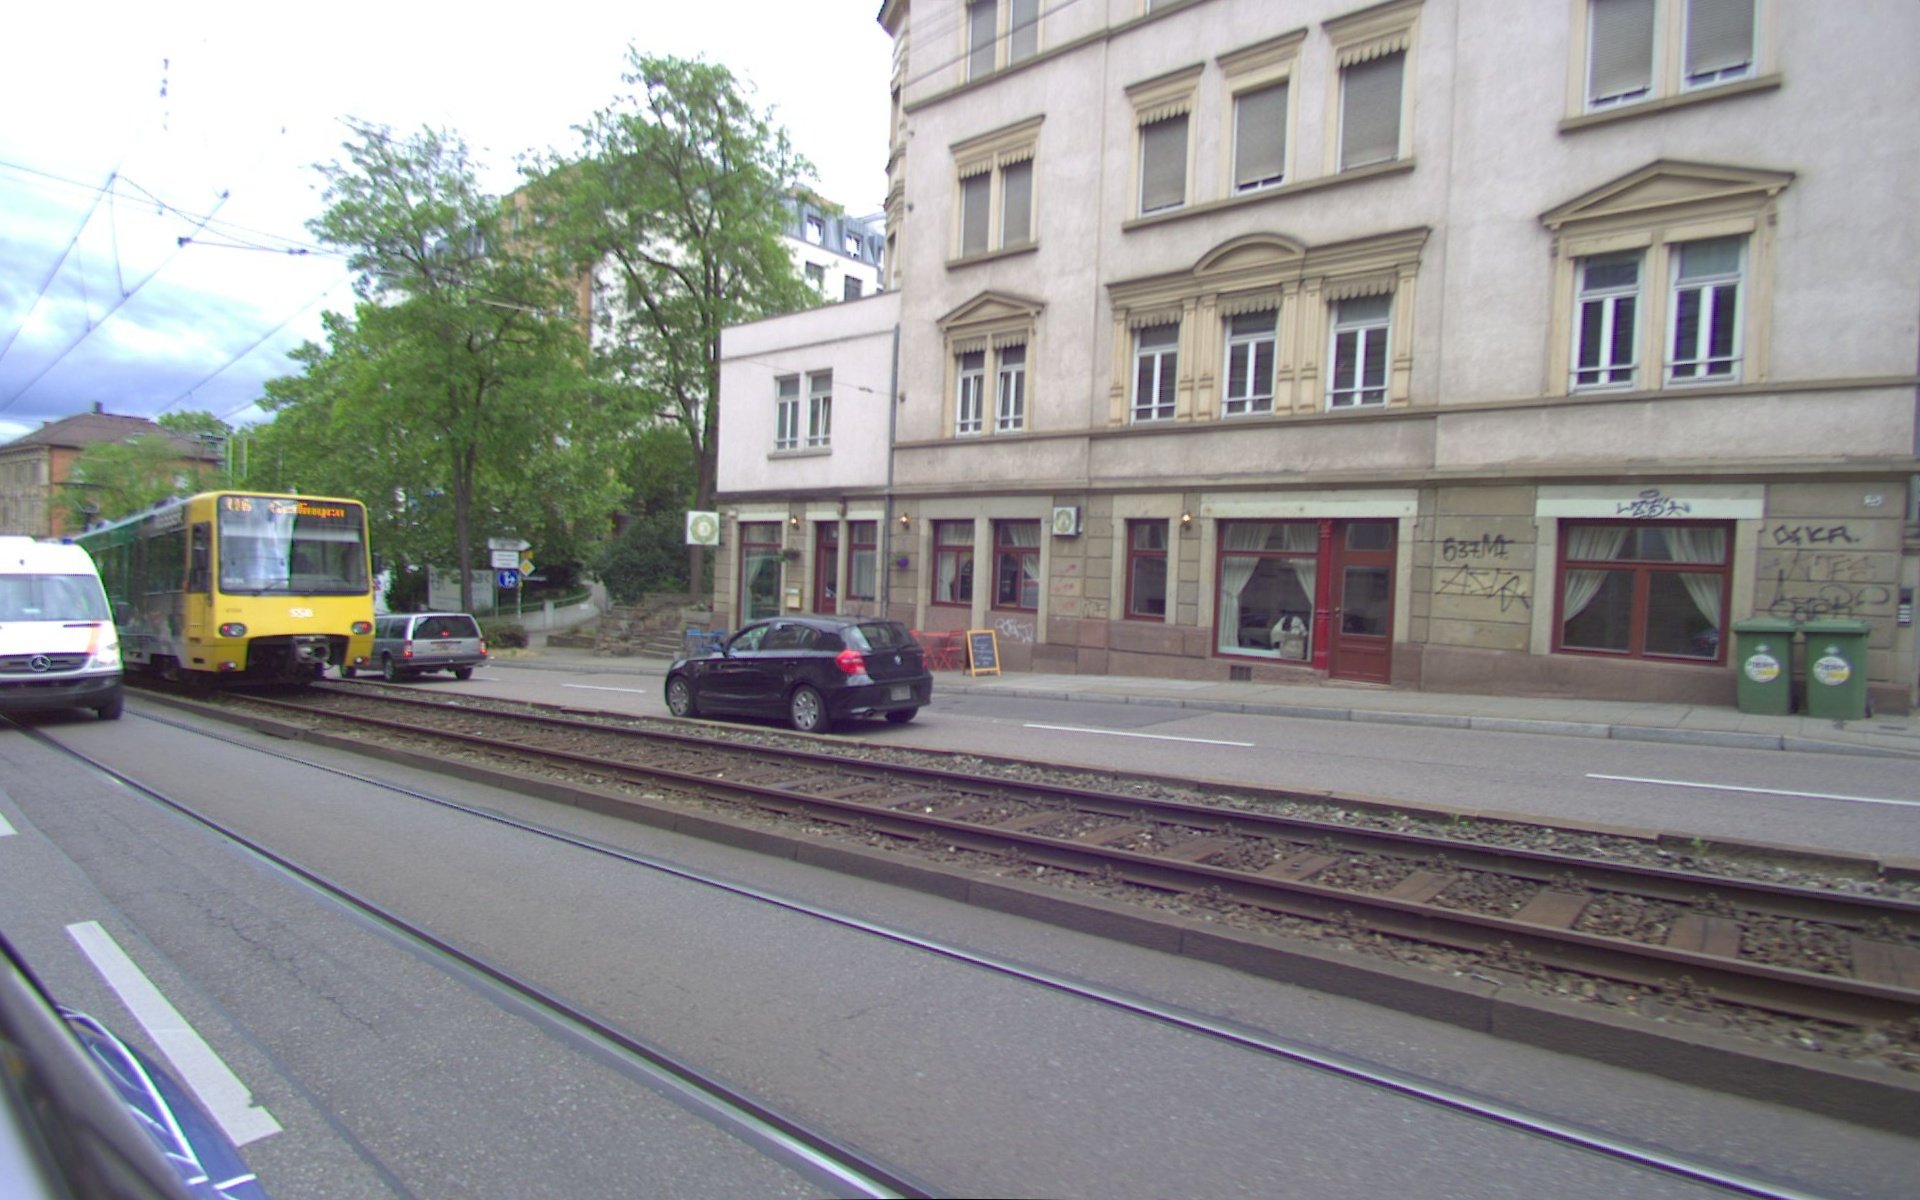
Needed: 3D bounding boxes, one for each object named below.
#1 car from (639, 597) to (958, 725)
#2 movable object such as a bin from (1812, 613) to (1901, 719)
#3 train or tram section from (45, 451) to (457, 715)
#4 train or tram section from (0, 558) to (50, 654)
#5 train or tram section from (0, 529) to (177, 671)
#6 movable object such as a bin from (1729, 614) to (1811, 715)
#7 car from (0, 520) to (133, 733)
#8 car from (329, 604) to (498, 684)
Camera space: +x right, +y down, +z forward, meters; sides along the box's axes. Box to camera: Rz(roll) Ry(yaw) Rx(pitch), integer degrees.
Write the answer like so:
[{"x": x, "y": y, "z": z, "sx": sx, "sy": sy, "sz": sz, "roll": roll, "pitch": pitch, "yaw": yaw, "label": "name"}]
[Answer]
[{"x": -2.176, "y": 0.687, "z": 12.942, "sx": 4.160, "sy": 1.374, "sz": 1.811, "roll": -1, "pitch": -1, "yaw": 41, "label": "car"}, {"x": 9.653, "y": 0.692, "z": 10.915, "sx": 0.681, "sy": 1.082, "sz": 0.710, "roll": -1, "pitch": -1, "yaw": 41, "label": "movable object such as a bin"}, {"x": -16.245, "y": -0.115, "z": 21.696, "sx": 18.748, "sy": 3.754, "sz": 2.846, "roll": -1, "pitch": 0, "yaw": 41, "label": "train or tram section"}, {"x": -44.768, "y": 0.402, "z": 45.967, "sx": 18.692, "sy": 3.754, "sz": 2.846, "roll": -1, "pitch": 0, "yaw": 41, "label": "train or tram section"}, {"x": -30.521, "y": 0.127, "z": 33.820, "sx": 18.739, "sy": 3.754, "sz": 2.848, "roll": -1, "pitch": 0, "yaw": 40, "label": "train or tram section"}, {"x": 9.144, "y": 0.702, "z": 11.420, "sx": 0.676, "sy": 1.082, "sz": 0.679, "roll": -1, "pitch": -1, "yaw": 41, "label": "movable object such as a bin"}, {"x": -14.191, "y": 0.399, "z": 15.168, "sx": 5.854, "sy": 2.720, "sz": 2.011, "roll": -2, "pitch": -1, "yaw": 43, "label": "car"}, {"x": -12.236, "y": 0.915, "z": 22.552, "sx": 4.237, "sy": 1.608, "sz": 1.973, "roll": -1, "pitch": -1, "yaw": 41, "label": "car"}]
